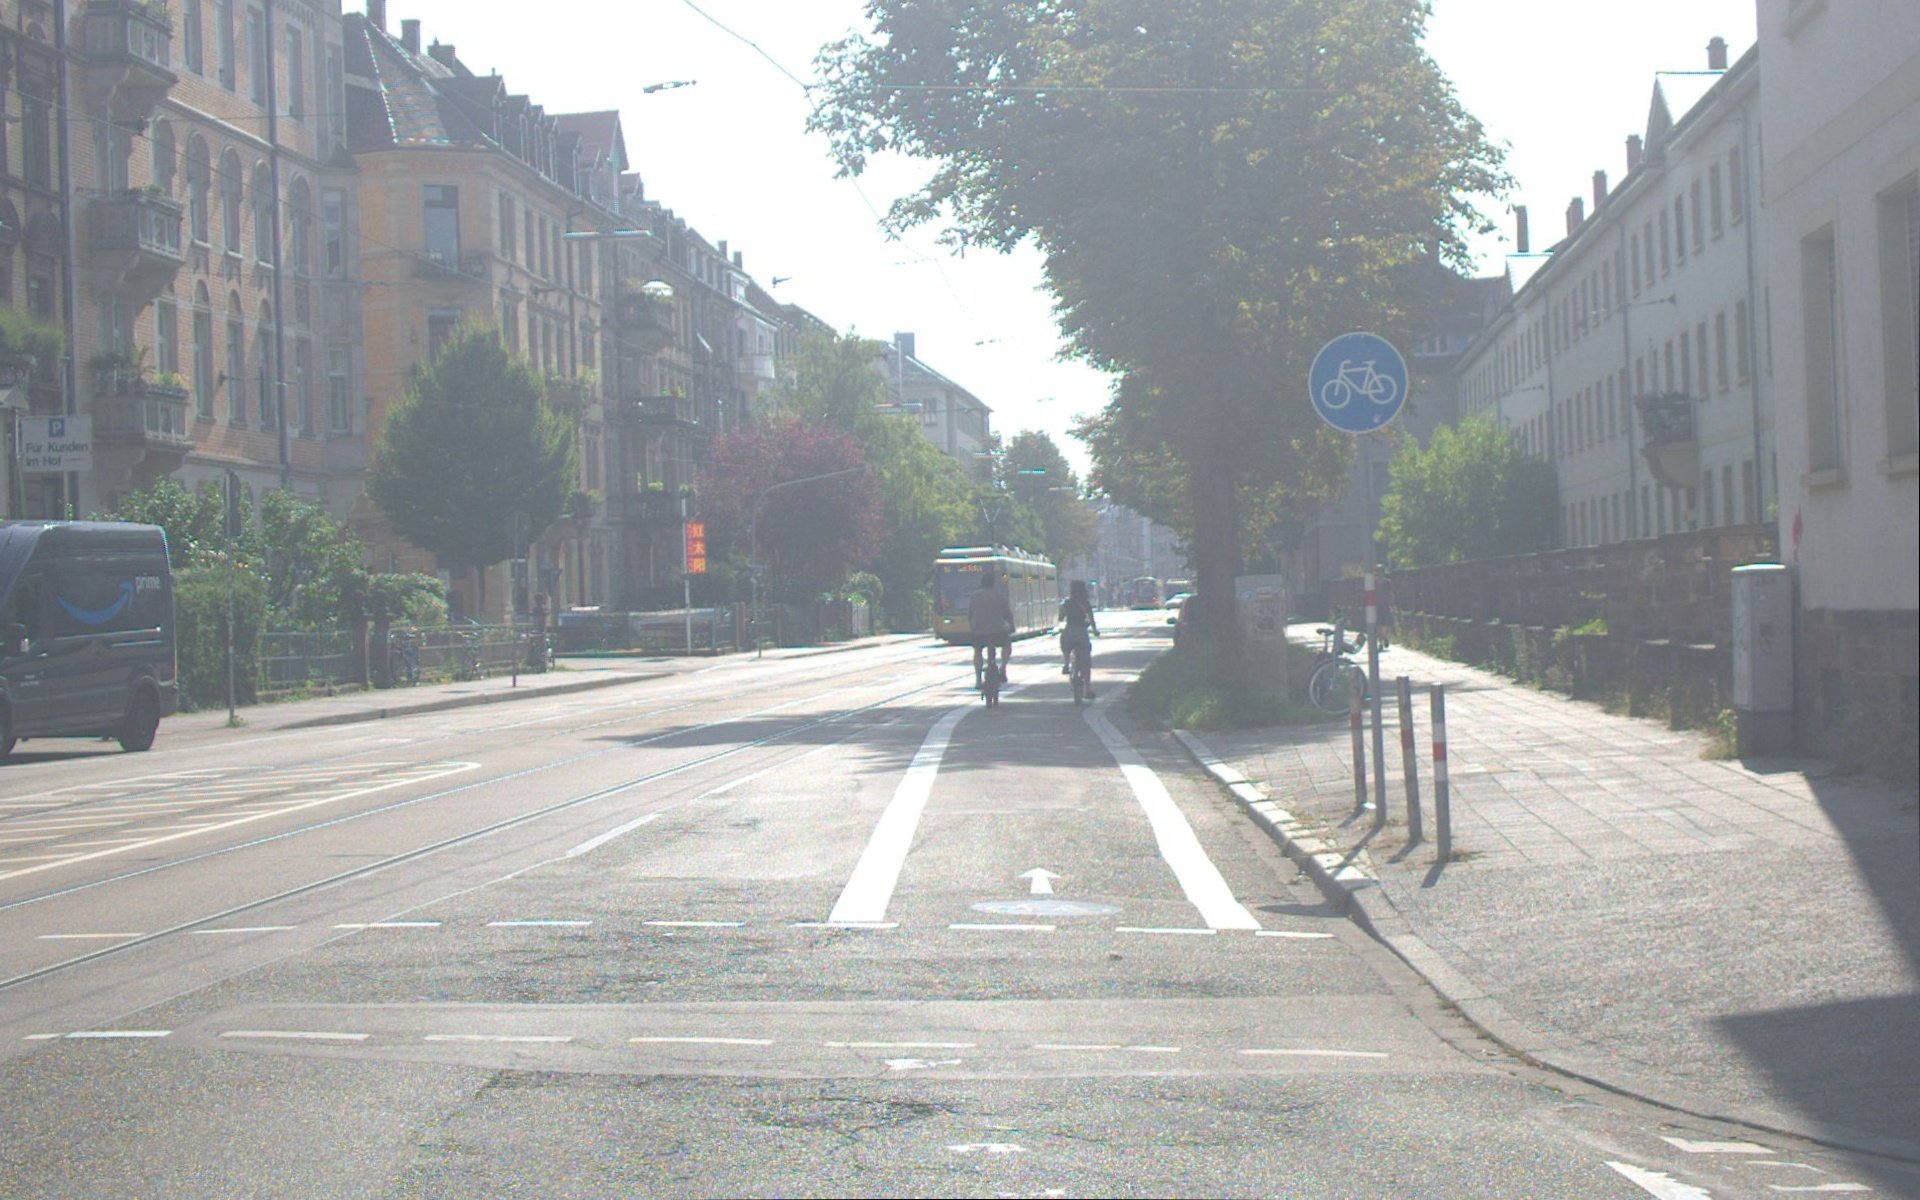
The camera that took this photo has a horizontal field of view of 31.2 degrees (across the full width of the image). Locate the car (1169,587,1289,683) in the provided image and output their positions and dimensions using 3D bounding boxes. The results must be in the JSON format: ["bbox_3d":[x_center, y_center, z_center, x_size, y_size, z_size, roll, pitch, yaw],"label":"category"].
[{"bbox_3d":[4.760,0.600,60.482,1.646,1.535,3.840,-4,-1,10],"label":"car"}]

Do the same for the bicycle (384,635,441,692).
[{"bbox_3d":[-10.621,1.233,66.780,0.606,1.054,1.839,2,0,6],"label":"bicycle"}]

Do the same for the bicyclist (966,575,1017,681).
[{"bbox_3d":[0.420,0.375,45.750,0.626,1.396,0.929,0,0,4],"label":"bicyclist"}]

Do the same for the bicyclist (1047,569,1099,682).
[{"bbox_3d":[1.496,0.333,45.344,0.654,1.469,0.908,0,0,4],"label":"bicyclist"}]

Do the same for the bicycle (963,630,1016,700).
[{"bbox_3d":[0.401,0.862,45.734,0.626,0.906,1.525,0,0,4],"label":"bicycle"}]

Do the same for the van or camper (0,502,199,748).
[{"bbox_3d":[-10.877,0.311,38.906,2.051,2.635,6.086,-3,-1,11],"label":"van or camper"}]

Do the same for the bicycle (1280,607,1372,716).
[{"bbox_3d":[3.896,0.640,36.739,0.772,1.100,2.333,-2,0,2],"label":"bicycle"}]

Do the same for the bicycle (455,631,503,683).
[{"bbox_3d":[-10.161,1.197,72.695,0.545,1.054,1.839,2,0,6],"label":"bicycle"}]

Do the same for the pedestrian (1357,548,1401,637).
[{"bbox_3d":[8.422,-0.153,69.089,0.753,1.743,0.878,-2,0,11],"label":"pedestrian"}]

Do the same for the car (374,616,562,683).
[{"bbox_3d":[-11.908,1.209,83.359,4.137,1.538,2.064,-1,-1,4],"label":"car"}]

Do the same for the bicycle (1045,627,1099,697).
[{"bbox_3d":[1.489,0.811,45.357,0.654,0.906,1.775,0,0,4],"label":"bicycle"}]

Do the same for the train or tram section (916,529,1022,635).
[{"bbox_3d":[0.441,-0.607,123.957,2.735,3.494,15.430,-1,0,4],"label":"train or tram section"}]

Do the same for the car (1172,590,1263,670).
[{"bbox_3d":[5.112,0.588,68.077,1.645,1.443,4.245,-4,-1,5],"label":"car"}]

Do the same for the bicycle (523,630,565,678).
[{"bbox_3d":[-9.640,1.242,79.700,0.545,1.054,1.839,2,0,6],"label":"bicycle"}]
